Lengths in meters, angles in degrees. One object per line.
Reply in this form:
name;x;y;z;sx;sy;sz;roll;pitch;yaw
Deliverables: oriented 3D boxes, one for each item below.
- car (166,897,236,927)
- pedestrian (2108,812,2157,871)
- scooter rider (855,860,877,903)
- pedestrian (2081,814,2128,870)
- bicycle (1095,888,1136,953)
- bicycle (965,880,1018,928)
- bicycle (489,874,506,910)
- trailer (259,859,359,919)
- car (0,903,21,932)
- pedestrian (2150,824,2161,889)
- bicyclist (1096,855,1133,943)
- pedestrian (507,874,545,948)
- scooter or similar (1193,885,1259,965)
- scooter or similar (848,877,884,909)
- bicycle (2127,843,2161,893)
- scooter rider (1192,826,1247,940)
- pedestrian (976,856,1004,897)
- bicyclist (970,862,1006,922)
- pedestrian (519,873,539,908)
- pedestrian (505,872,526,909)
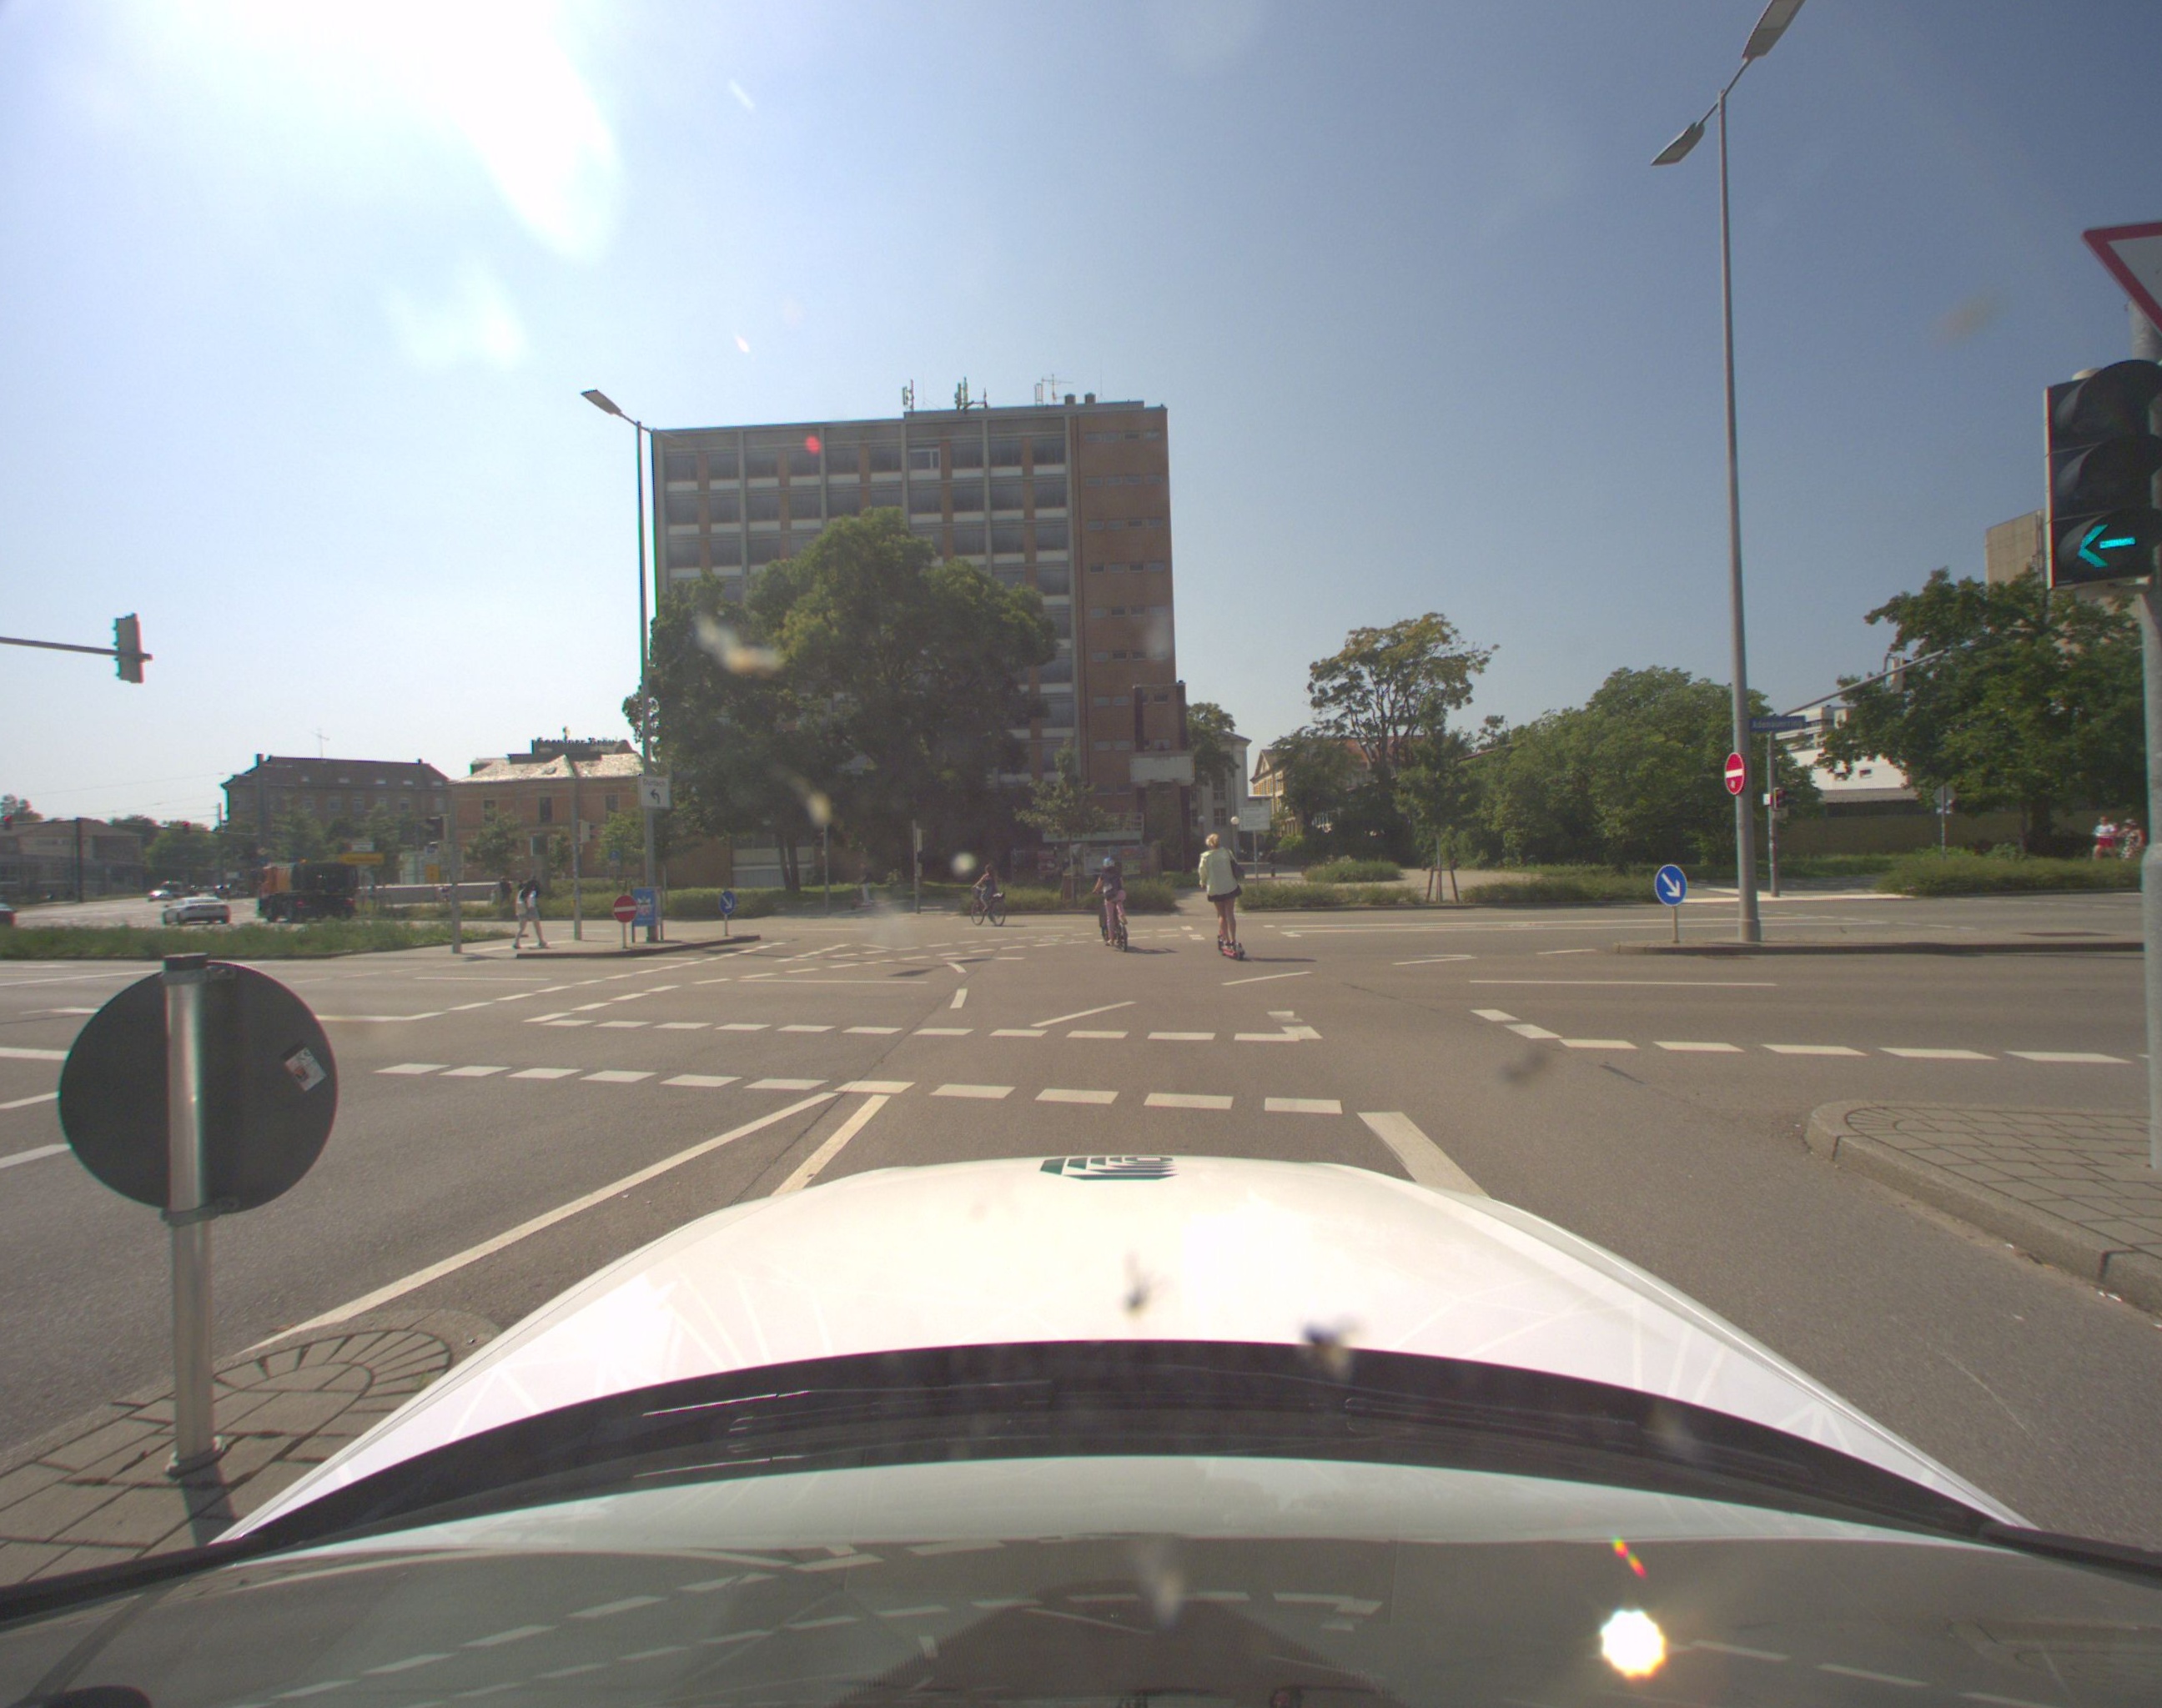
car;-47.585;3.091;44.031;4.368;1.455;1.775;-2;-1;32
pedestrian;32.806;-0.383;25.419;0.582;1.771;0.695;-2;0;8
scooter rider;-8.873;1.117;33.583;0.804;1.739;0.685;-2;-1;-16
pedestrian;32.853;-0.385;26.152;0.582;1.771;0.695;-2;0;8
bicycle;0.593;1.152;14.689;0.555;1.060;2.002;-2;-2;-2
bicycle;-2.539;1.375;22.861;0.697;1.154;2.351;-3;2;-26
bicycle;-31.645;2.053;44.195;1.346;1.860;0.459;-2;0;43
trailer;-41.148;1.862;43.369;6.243;3.008;2.486;-2;-2;34
car;-55.367;3.220;41.333;3.929;1.404;1.775;-2;-1;36
pedestrian;27.815;0.061;20.579;0.544;1.669;0.782;-2;0;8
bicyclist;0.582;0.790;14.525;0.547;1.496;0.803;-2;-2;-2
pedestrian;-13.390;1.359;19.654;0.609;1.695;0.694;-2;0;-26
scooter or similar;2.156;1.026;12.353;0.555;1.060;2.002;-2;-1;-1
scooter or similar;-8.867;1.589;33.627;1.366;1.234;0.582;-2;0;-16
bicycle;27.923;0.325;20.566;1.773;1.212;0.788;-2;0;7
scooter rider;2.123;0.437;12.524;0.668;1.699;0.539;-2;-1;-2
pedestrian;-3.900;0.953;34.887;0.869;1.704;0.711;-2;1;20
bicyclist;-2.617;1.043;22.969;0.694;1.598;0.837;-4;2;-25
pedestrian;-31.250;2.056;46.089;0.785;1.973;0.744;-2;0;-44
pedestrian;-31.243;2.004;45.006;0.785;1.973;0.744;-2;0;-44
